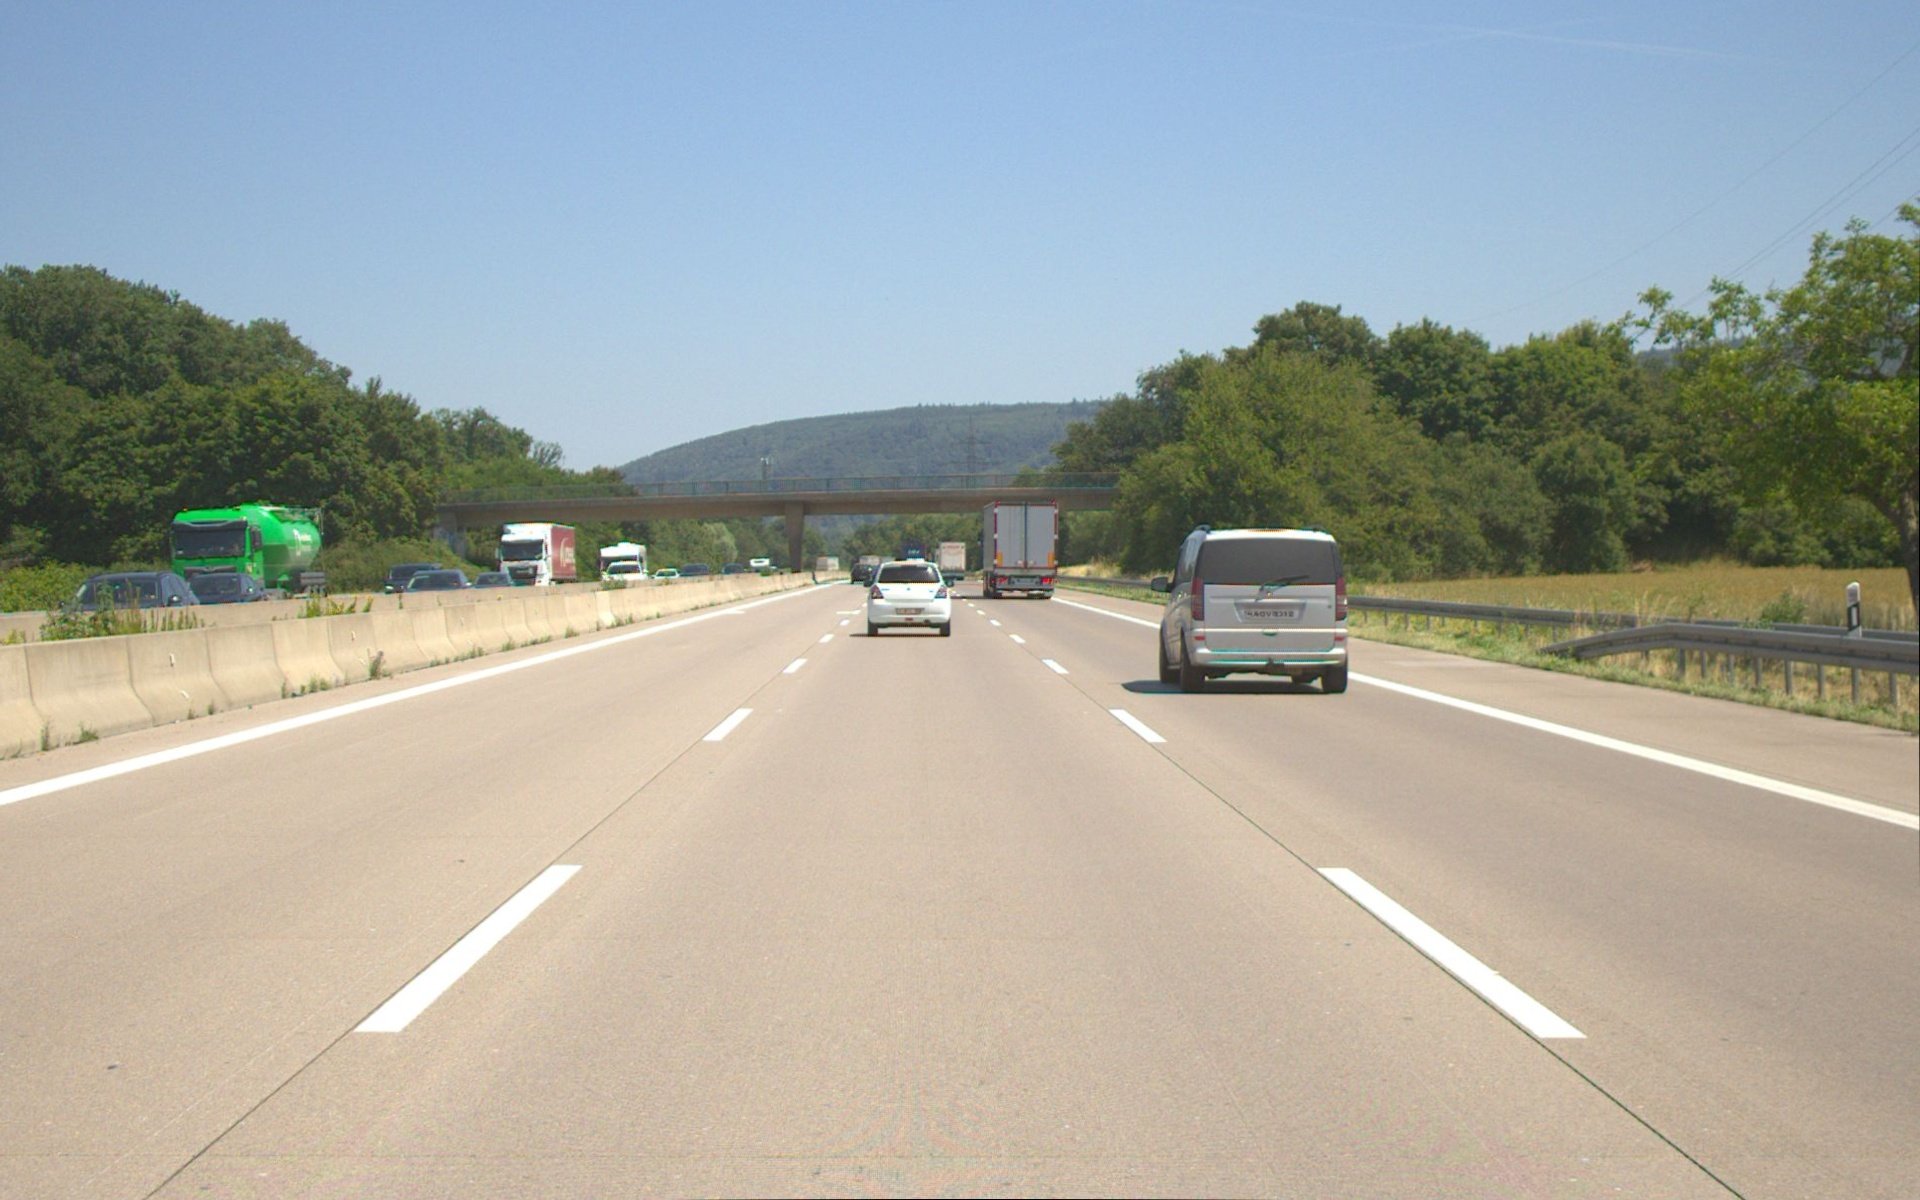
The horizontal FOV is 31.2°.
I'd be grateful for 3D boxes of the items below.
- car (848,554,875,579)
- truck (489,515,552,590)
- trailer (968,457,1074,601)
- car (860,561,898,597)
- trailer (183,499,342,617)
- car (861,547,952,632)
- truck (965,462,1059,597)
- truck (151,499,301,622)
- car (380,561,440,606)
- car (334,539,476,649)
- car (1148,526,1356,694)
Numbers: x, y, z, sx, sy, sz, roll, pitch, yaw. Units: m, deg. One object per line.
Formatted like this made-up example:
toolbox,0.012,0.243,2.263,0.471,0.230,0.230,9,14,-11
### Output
car,-7.076,-2.424,247.529,1.928,1.787,4.000,1,1,-1
truck,-22.918,-2.509,179.536,2.556,3.835,6.791,1,1,-1
trailer,2.483,-2.979,145.060,3.720,5.791,12.163,1,1,-2
car,-4.218,-1.090,178.568,1.928,1.787,4.001,1,1,-2
trailer,-22.763,-1.412,112.914,3.049,3.622,11.670,1,1,-1
car,-1.102,-0.238,70.324,1.819,1.656,4.000,0,1,-1
truck,2.245,-3.111,151.954,3.720,5.791,7.054,1,1,-2
truck,-22.630,-1.257,106.403,3.049,3.622,7.978,1,1,-1
car,-22.755,-0.697,142.374,1.928,1.787,4.000,1,1,-1
car,-10.009,-0.137,62.278,1.993,1.842,4.001,2,1,-2
car,3.375,0.075,40.483,1.993,1.842,4.000,1,1,-1
